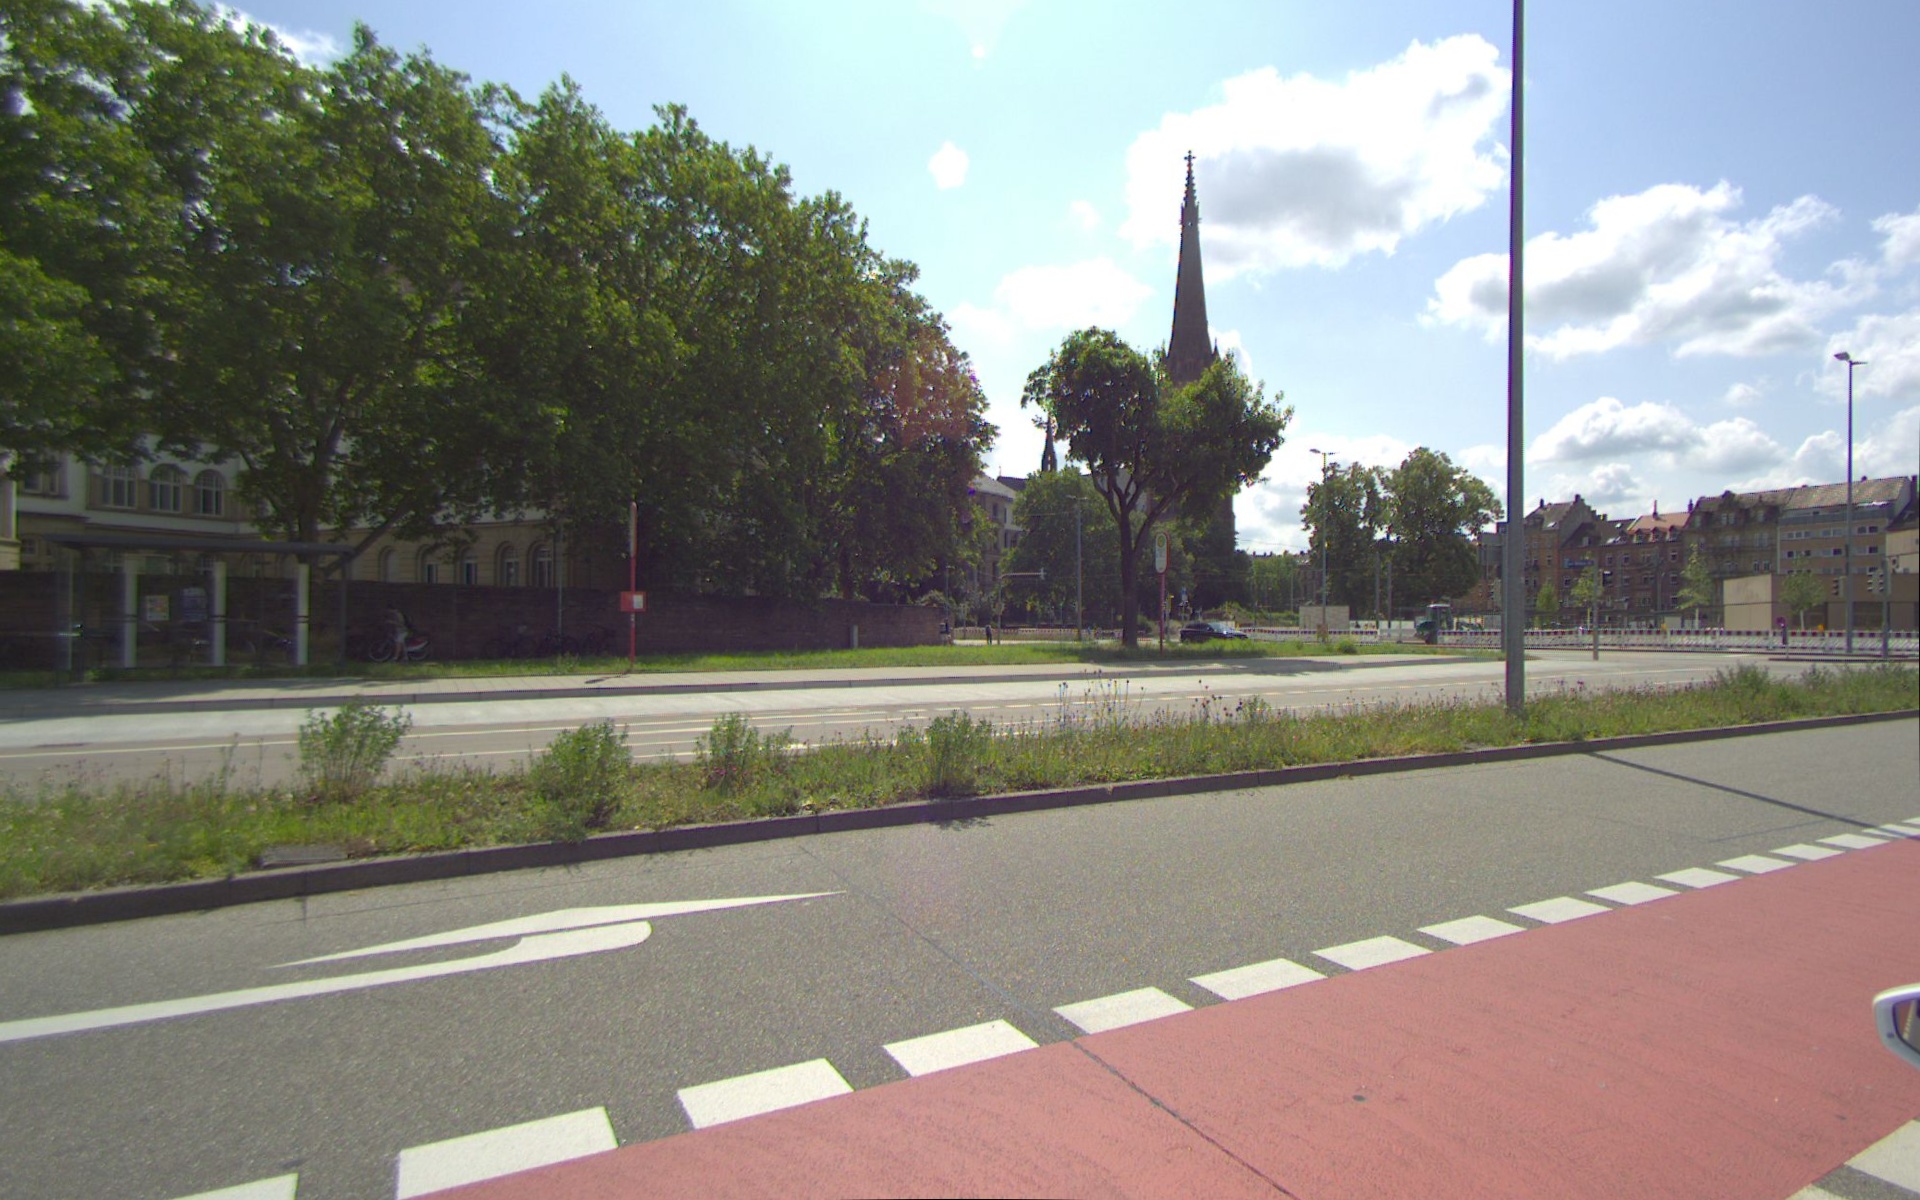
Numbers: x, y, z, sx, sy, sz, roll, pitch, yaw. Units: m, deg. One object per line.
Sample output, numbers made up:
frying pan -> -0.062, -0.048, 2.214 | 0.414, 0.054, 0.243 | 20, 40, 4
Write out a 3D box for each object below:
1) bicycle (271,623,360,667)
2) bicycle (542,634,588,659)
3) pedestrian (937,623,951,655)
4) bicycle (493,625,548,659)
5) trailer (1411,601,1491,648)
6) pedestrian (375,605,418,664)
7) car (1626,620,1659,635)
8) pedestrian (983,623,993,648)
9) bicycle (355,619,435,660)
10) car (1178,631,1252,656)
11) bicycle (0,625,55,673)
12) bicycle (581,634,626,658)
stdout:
bicycle -> -17.457, 1.212, 27.267 | 0.391, 1.152, 2.032 | 0, -1, 36
bicycle -> -13.153, 1.540, 33.452 | 0.391, 0.799, 1.462 | 0, -1, 33
pedestrian -> -0.876, 2.068, 53.476 | 0.479, 1.718, 0.679 | 2, 0, 21
bicycle -> -14.034, 1.332, 32.121 | 0.391, 1.043, 1.683 | 0, -1, 33
trailer -> 32.461, 1.617, 66.519 | 4.277, 2.952, 2.001 | 2, 0, 7
pedestrian -> -15.899, 0.970, 28.351 | 0.710, 1.632, 0.779 | 0, -1, 31
car -> 113.555, 4.518, 167.057 | 1.972, 2.374, 4.097 | 2, 0, -23
pedestrian -> 2.055, 2.648, 74.737 | 0.561, 1.844, 0.436 | 2, 0, 43
bicycle -> -16.279, 1.129, 28.974 | 0.391, 1.152, 2.032 | 0, -1, 36
car -> 15.930, 2.692, 62.979 | 1.976, 1.505, 4.475 | 1, -1, -30
bicycle -> -21.252, 1.081, 22.100 | 0.392, 1.057, 1.948 | 0, -1, 40
bicycle -> -12.311, 1.571, 34.738 | 0.391, 0.799, 1.540 | 0, -1, 33
